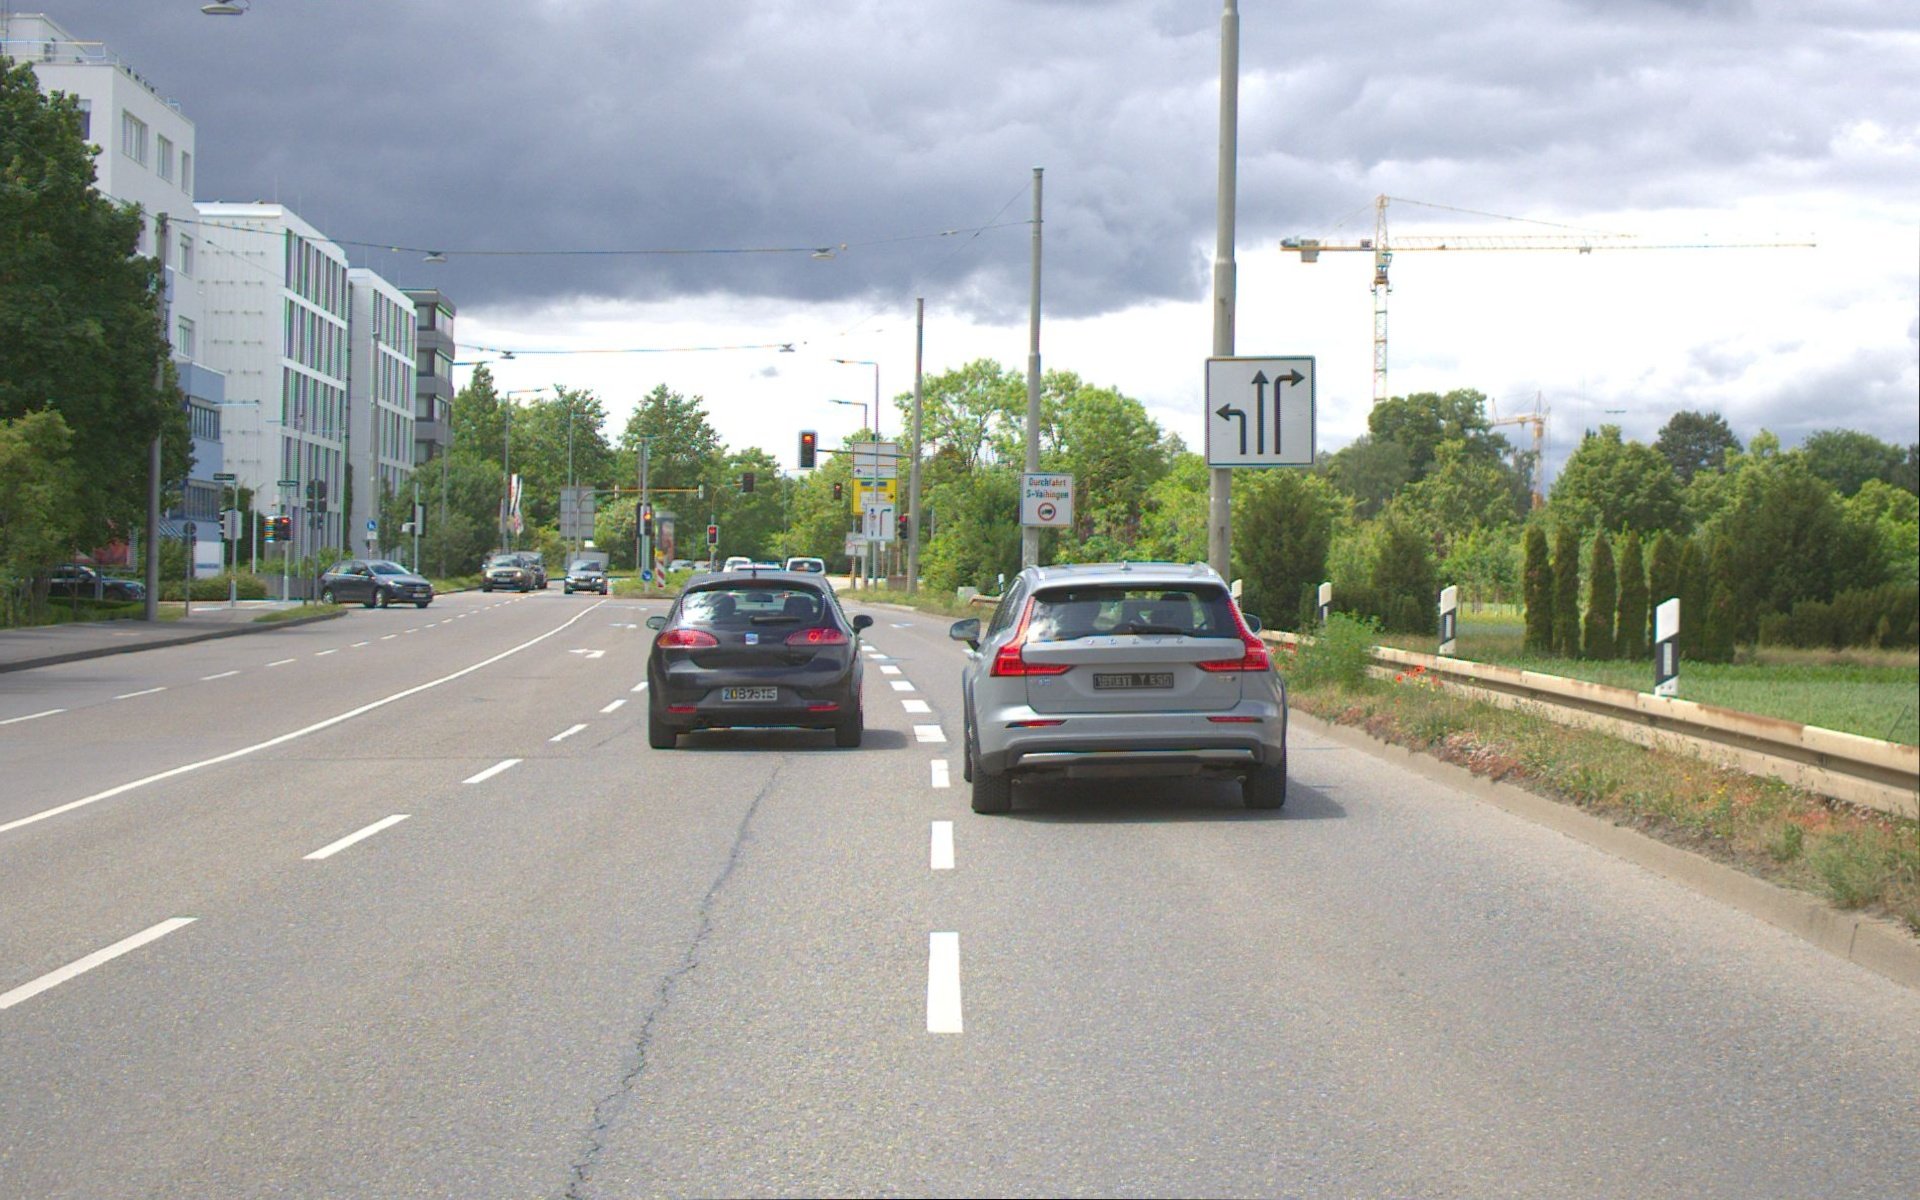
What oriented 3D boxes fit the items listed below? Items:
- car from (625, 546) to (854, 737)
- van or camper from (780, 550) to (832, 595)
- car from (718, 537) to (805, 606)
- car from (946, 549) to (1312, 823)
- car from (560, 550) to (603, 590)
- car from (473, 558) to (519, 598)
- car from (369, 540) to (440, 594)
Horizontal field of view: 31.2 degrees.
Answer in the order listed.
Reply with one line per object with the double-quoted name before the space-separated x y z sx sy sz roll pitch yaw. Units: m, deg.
"car" -1.800 0.322 29.115 1.748 1.479 4.000 1 0 -1
"van or camper" -7.060 -1.262 157.228 1.899 1.919 4.001 3 0 -8
"car" -5.030 -0.744 86.632 1.983 1.584 4.227 1 2 -5
"car" 0.943 0.473 21.532 1.958 1.520 4.340 -1 0 -1
"car" -15.969 -1.275 145.065 1.668 1.519 4.009 -1 2 -5
"car" -19.736 -0.948 146.317 1.751 1.625 4.001 -1 1 -5
"car" -17.723 -1.029 109.818 1.796 1.579 4.314 4 0 -4
